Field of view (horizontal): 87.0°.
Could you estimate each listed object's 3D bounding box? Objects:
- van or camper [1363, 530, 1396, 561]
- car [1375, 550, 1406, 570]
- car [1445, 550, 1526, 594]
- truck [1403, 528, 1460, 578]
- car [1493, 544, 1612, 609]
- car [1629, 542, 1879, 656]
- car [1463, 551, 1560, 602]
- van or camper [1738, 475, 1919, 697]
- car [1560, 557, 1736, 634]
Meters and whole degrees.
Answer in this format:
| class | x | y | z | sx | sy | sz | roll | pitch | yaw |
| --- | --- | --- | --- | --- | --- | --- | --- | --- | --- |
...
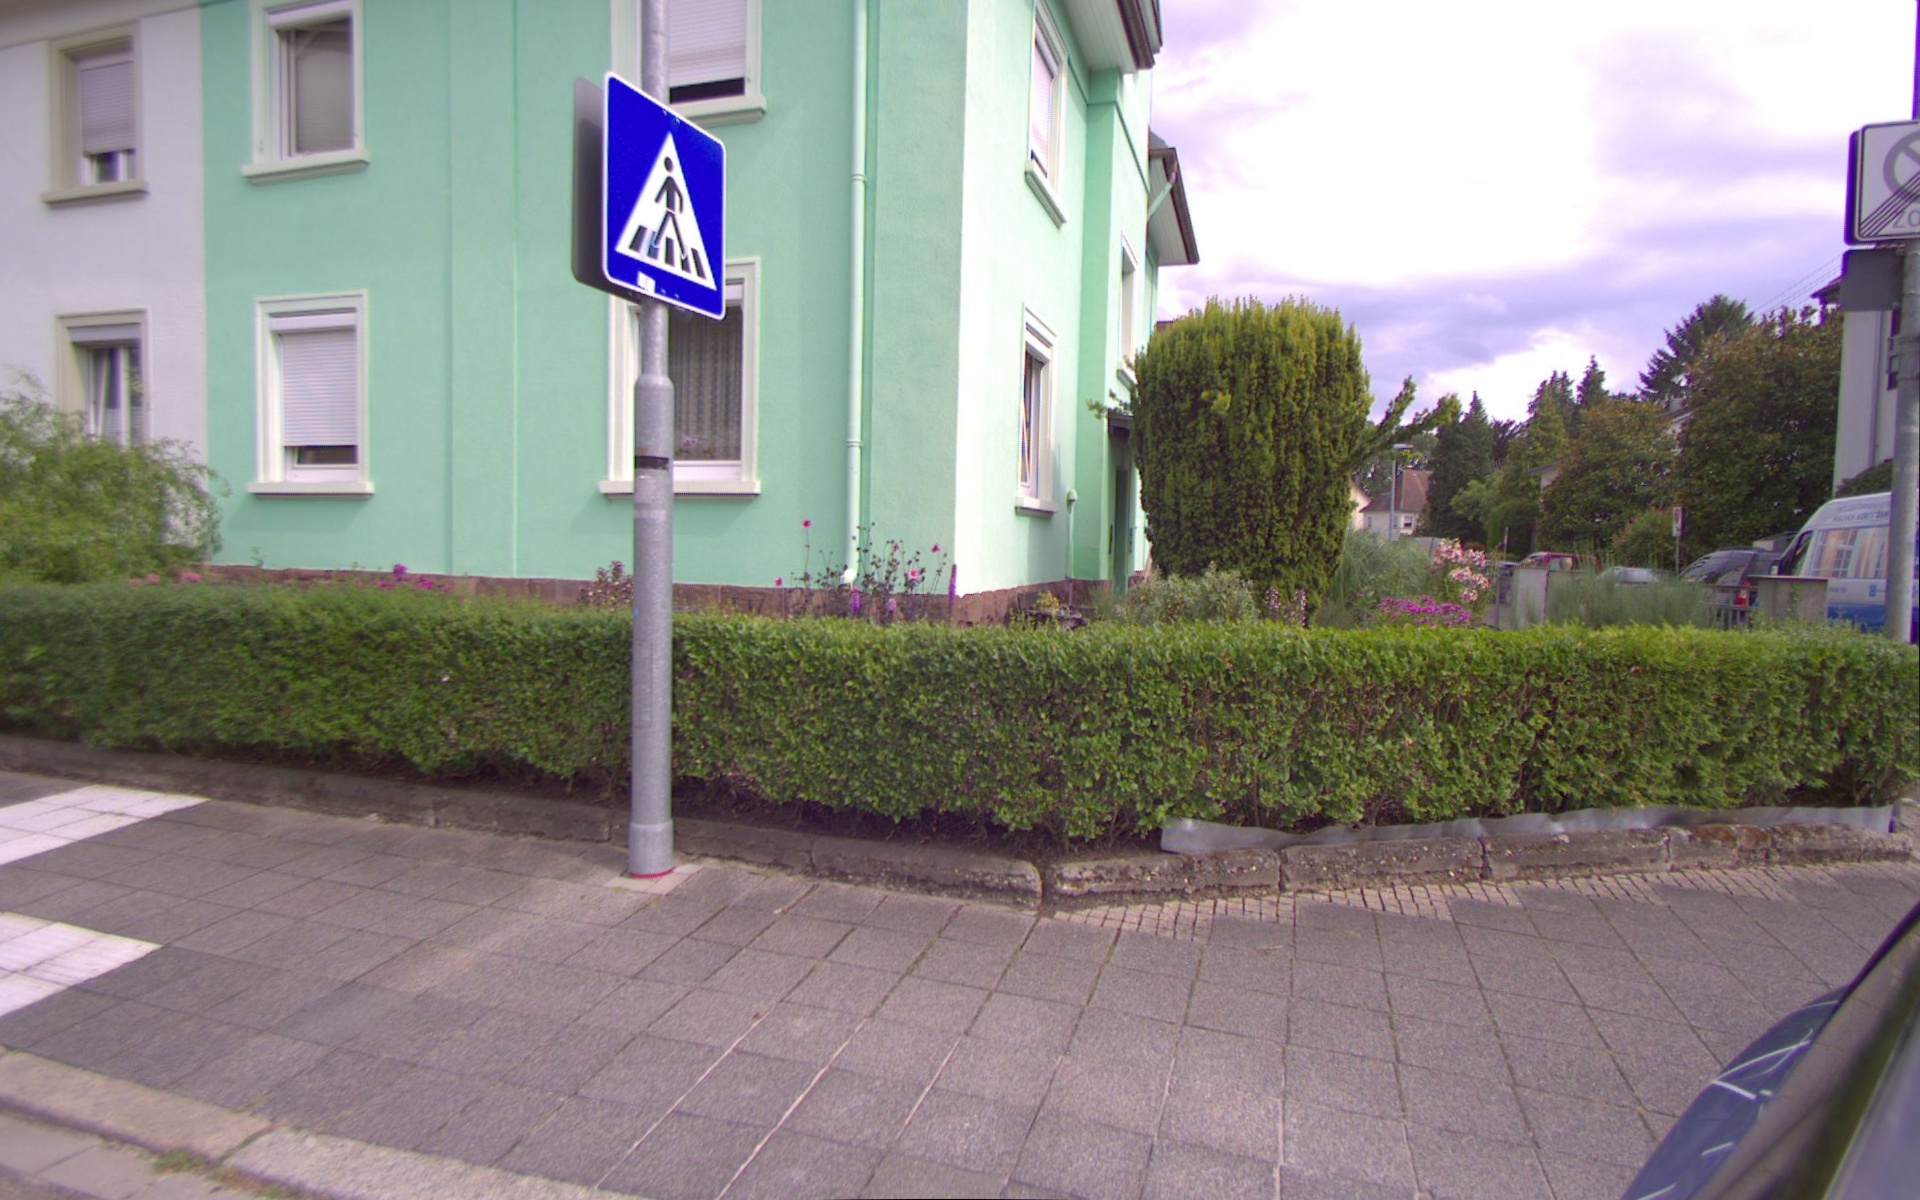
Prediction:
| class | x | y | z | sx | sy | sz | roll | pitch | yaw |
| --- | --- | --- | --- | --- | --- | --- | --- | --- | --- |
| van or camper | 36.321 | -4.703 | 87.769 | 2.120 | 2.572 | 4.989 | 2 | 4 | 18 |
| car | 32.369 | -3.011 | 76.190 | 1.804 | 1.392 | 3.977 | 2 | 4 | 19 |
| car | 21.271 | -1.206 | 41.182 | 1.972 | 1.610 | 4.324 | 2 | 4 | 15 |
| truck | 26.506 | -2.677 | 57.037 | 2.107 | 2.689 | 4.564 | 2 | 3 | 16 |
| car | 17.938 | -0.790 | 30.862 | 1.972 | 1.770 | 4.324 | 2 | 4 | 15 |
| car | 14.227 | -0.145 | 18.515 | 1.972 | 1.793 | 4.324 | 2 | 4 | 15 |
| car | 19.347 | -0.896 | 35.700 | 1.972 | 1.610 | 4.324 | 2 | 4 | 15 |
| van or camper | 12.413 | -0.226 | 12.920 | 2.169 | 2.488 | 5.029 | 2 | 4 | 17 |
| car | 15.661 | -0.191 | 23.345 | 1.972 | 1.473 | 4.324 | 2 | 4 | 15 |
